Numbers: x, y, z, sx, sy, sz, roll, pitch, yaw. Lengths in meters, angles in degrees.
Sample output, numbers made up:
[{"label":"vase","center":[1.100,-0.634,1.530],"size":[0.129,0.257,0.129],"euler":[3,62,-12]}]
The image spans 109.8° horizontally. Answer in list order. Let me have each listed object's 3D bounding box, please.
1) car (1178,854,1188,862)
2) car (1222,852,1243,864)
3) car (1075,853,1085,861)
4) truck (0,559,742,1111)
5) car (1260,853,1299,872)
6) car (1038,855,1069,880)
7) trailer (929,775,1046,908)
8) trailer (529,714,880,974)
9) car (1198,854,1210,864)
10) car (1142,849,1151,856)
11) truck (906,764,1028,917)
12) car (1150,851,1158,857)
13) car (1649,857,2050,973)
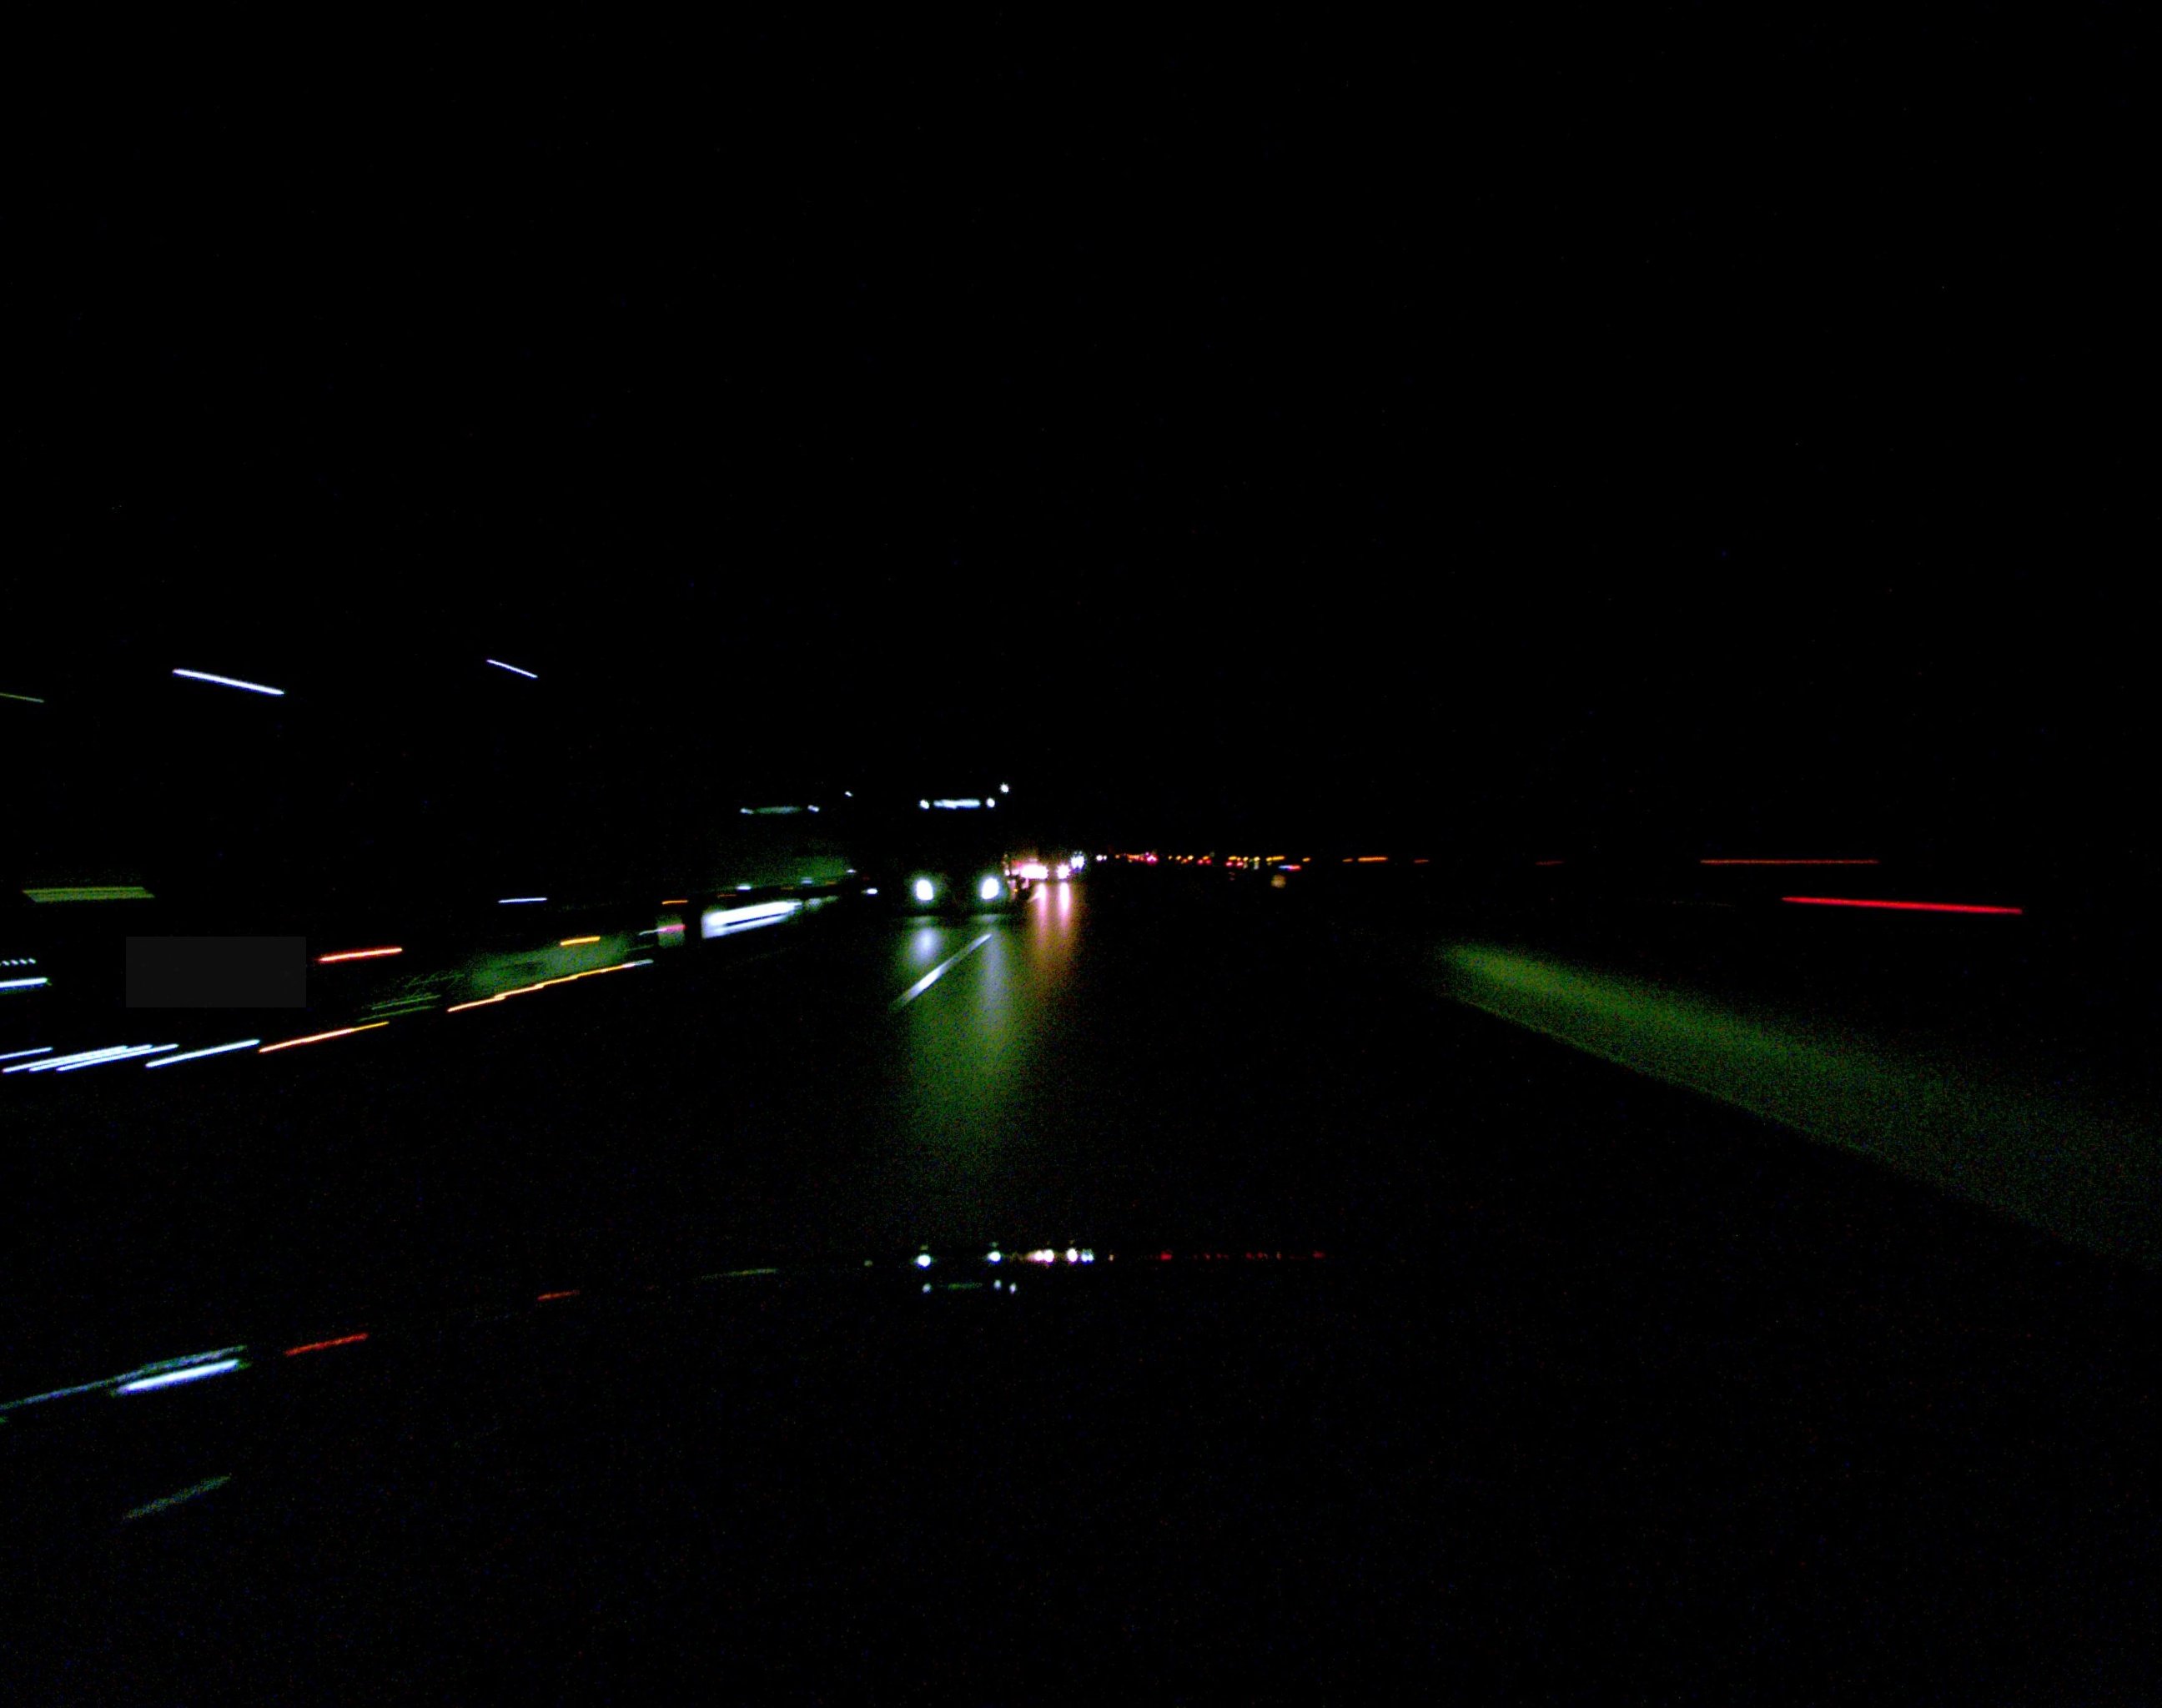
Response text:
[{"label":"car","center":[21.165,0.827,157.962],"size":[1.754,1.470,4.482],"euler":[1,0,2]},{"label":"car","center":[17.401,0.421,87.605],"size":[1.666,1.326,4.810],"euler":[1,0,3]},{"label":"car","center":[-0.135,0.798,184.043],"size":[2.267,1.842,5.403],"euler":[-3,0,0]},{"label":"truck","center":[-7.424,-0.138,9.547],"size":[2.597,4.049,7.673],"euler":[-3,0,1]},{"label":"car","center":[15.276,0.608,58.717],"size":[1.635,1.386,4.877],"euler":[1,0,0]},{"label":"car","center":[-1.833,0.811,49.206],"size":[1.826,1.458,4.245],"euler":[-3,0,-4]},{"label":"trailer","center":[-3.336,-0.434,31.313],"size":[2.749,4.182,13.509],"euler":[-3,0,1]},{"label":"trailer","center":[-7.334,-0.182,17.143],"size":[2.597,4.049,10.008],"euler":[-3,0,1]},{"label":"car","center":[20.283,0.796,125.299],"size":[1.754,1.470,4.728],"euler":[1,0,6]},{"label":"car","center":[15.060,-0.369,174.570],"size":[1.754,1.470,4.763],"euler":[1,0,1]},{"label":"truck","center":[-3.445,-0.400,24.723],"size":[2.668,4.182,6.722],"euler":[-3,0,1]},{"label":"car","center":[19.469,-0.095,202.799],"size":[1.754,1.470,4.942],"euler":[1,0,1]},{"label":"car","center":[11.783,0.805,12.240],"size":[1.755,1.470,4.581],"euler":[1,0,-1]}]
